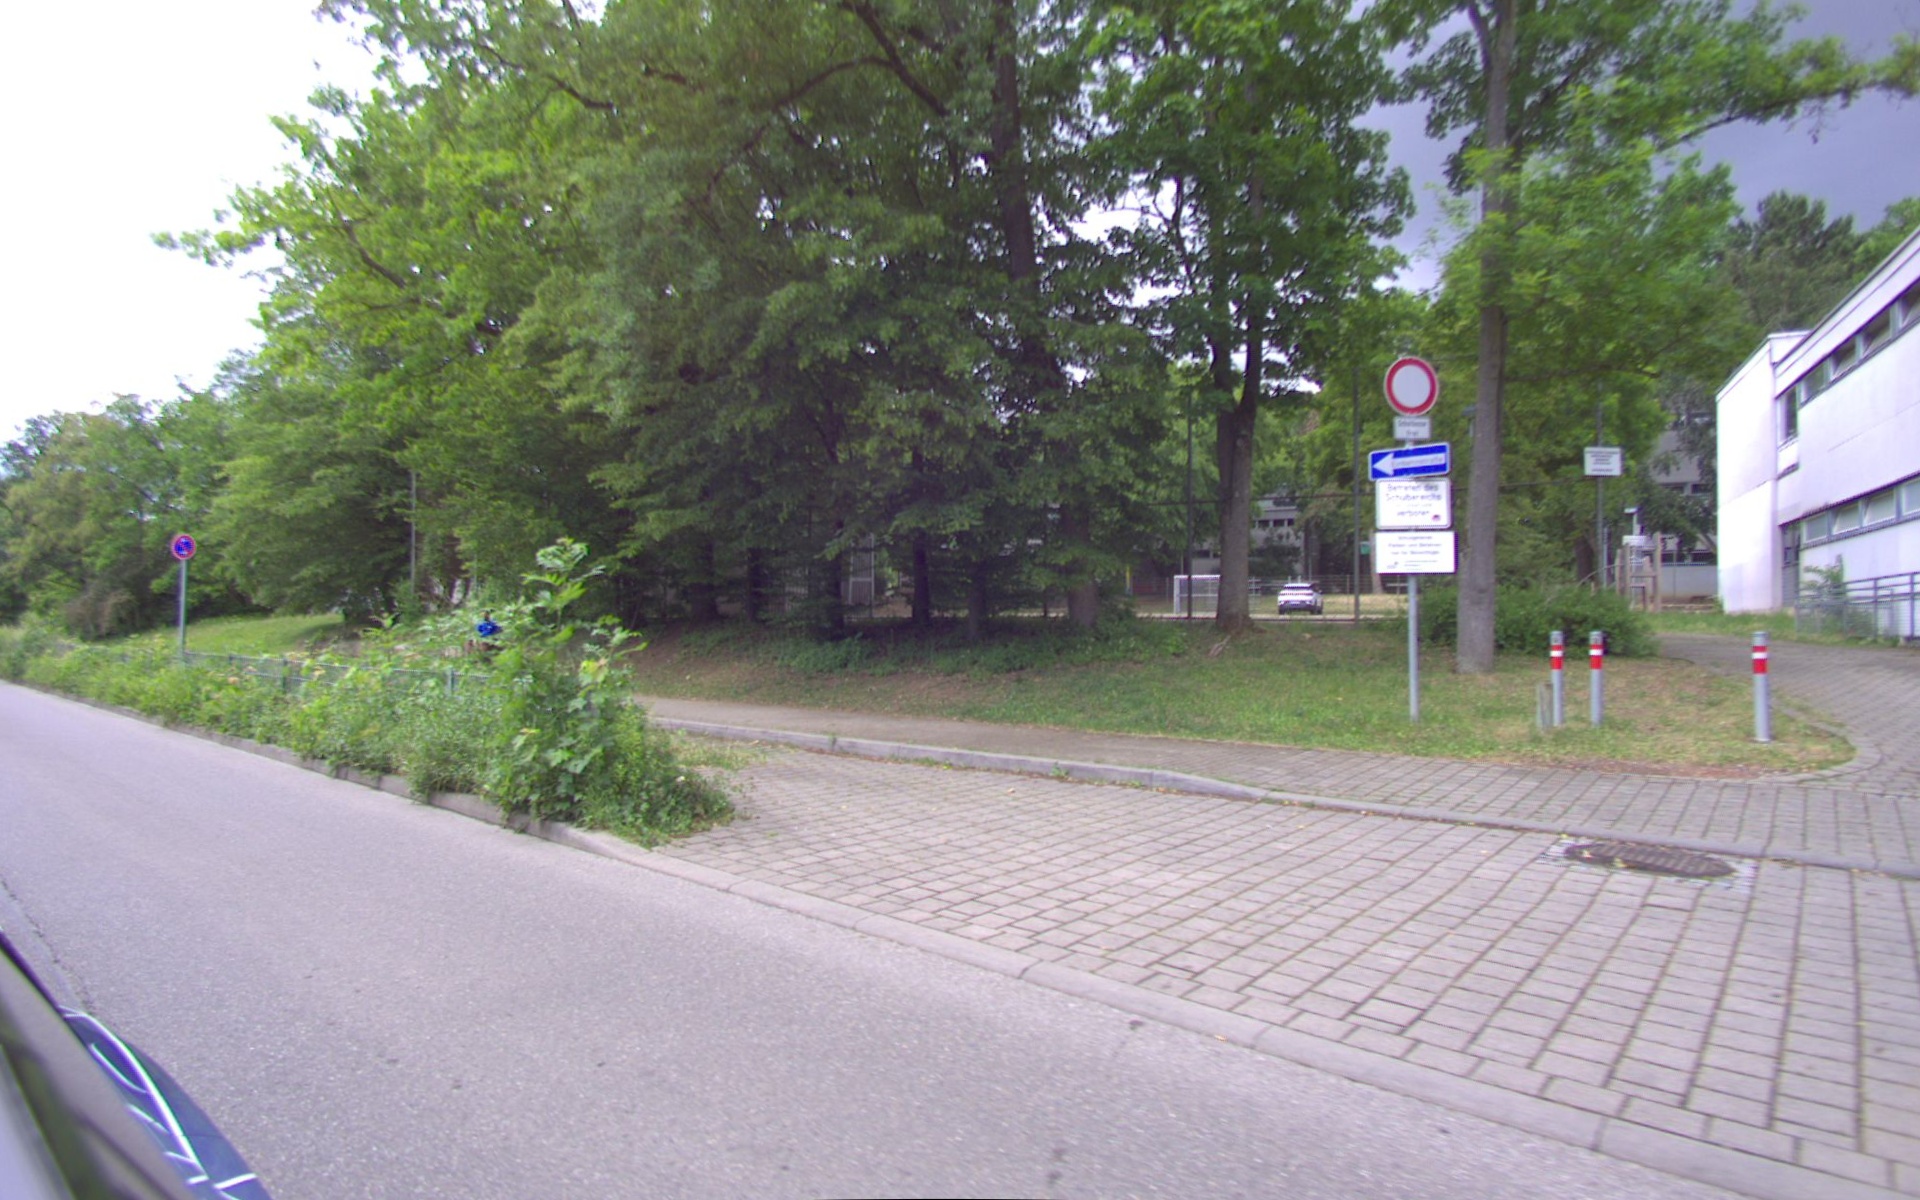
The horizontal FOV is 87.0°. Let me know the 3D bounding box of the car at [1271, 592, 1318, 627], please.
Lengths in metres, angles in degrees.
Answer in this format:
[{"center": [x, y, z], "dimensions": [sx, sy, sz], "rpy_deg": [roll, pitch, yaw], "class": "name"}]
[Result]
[{"center": [17.375, 0.557, 52.419], "dimensions": [1.962, 1.707, 4.414], "rpy_deg": [-1, -2, 23], "class": "car"}]
